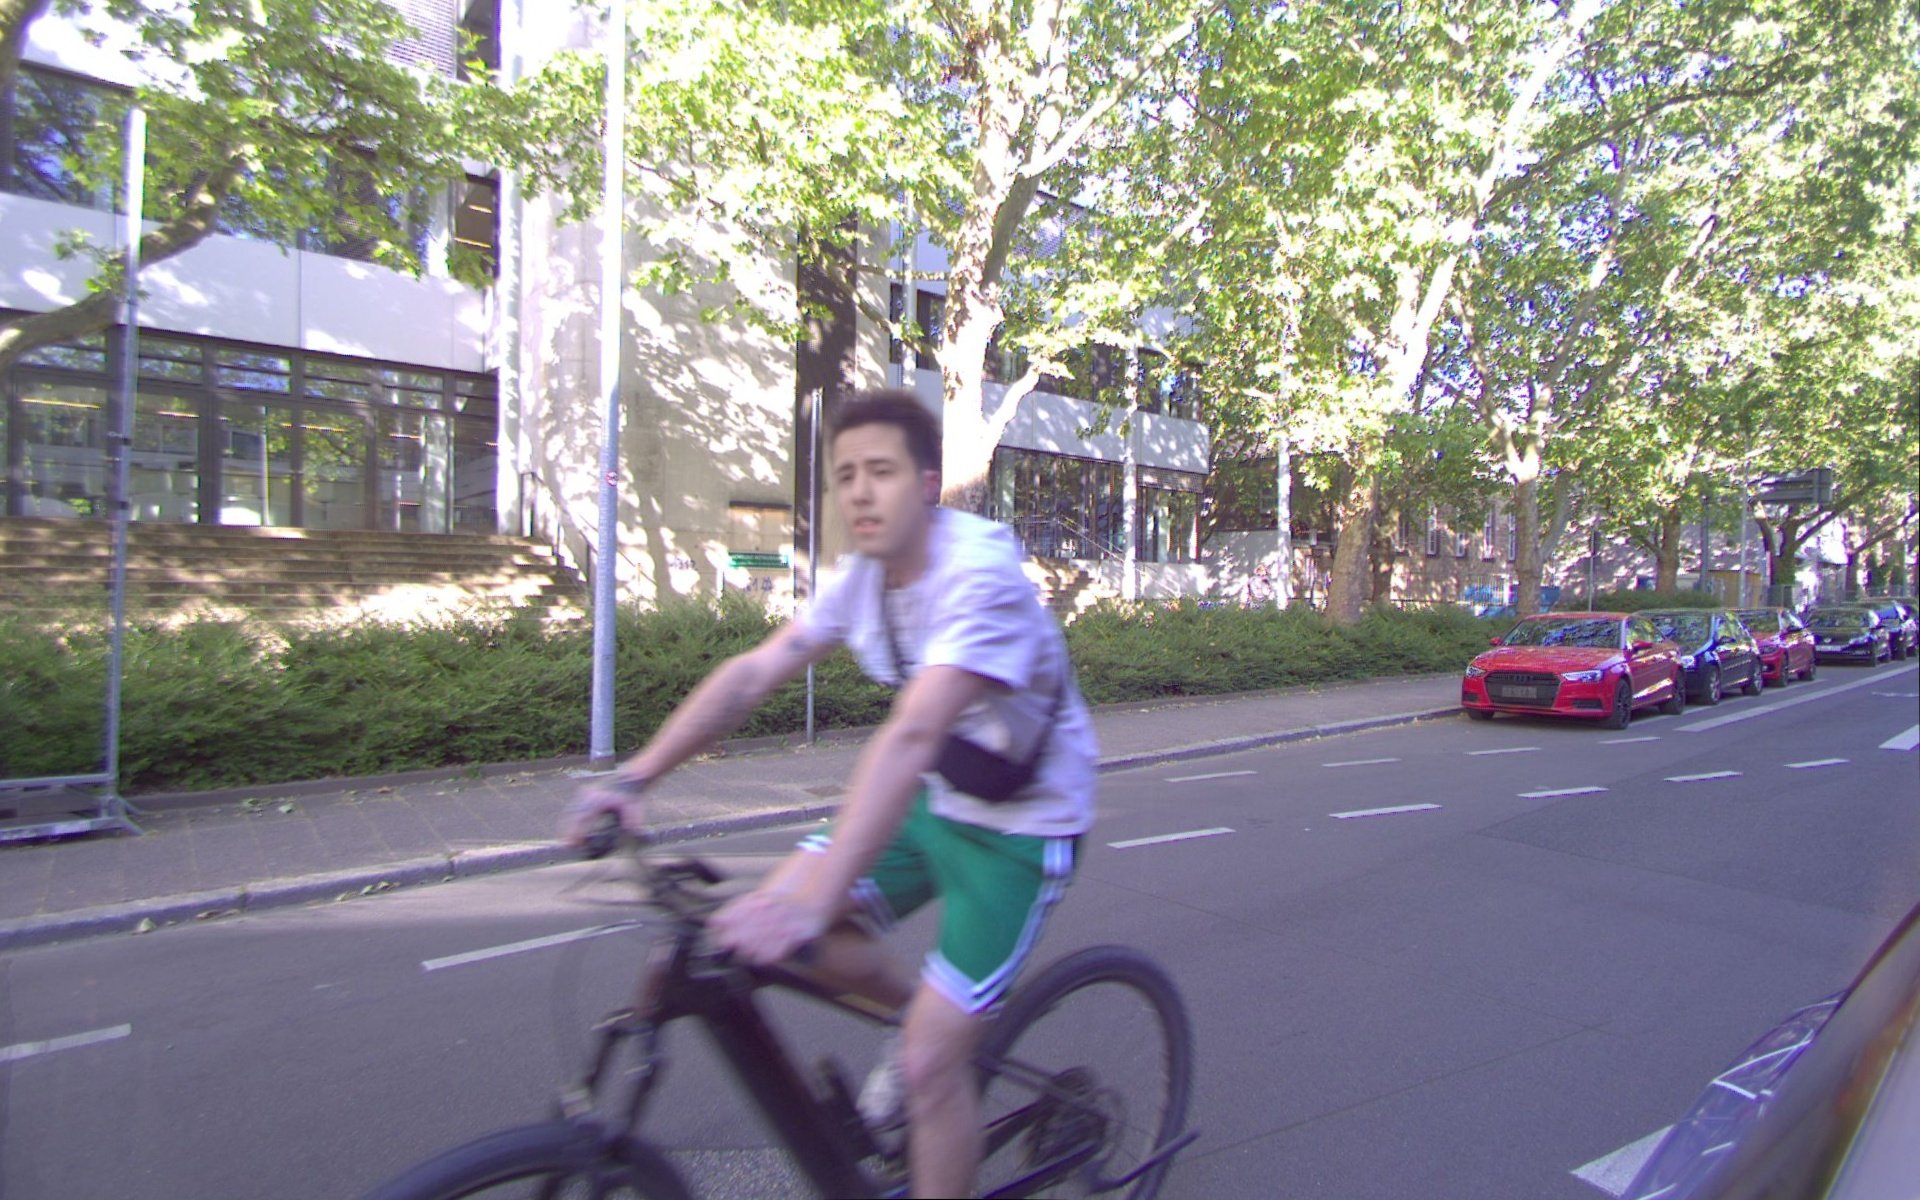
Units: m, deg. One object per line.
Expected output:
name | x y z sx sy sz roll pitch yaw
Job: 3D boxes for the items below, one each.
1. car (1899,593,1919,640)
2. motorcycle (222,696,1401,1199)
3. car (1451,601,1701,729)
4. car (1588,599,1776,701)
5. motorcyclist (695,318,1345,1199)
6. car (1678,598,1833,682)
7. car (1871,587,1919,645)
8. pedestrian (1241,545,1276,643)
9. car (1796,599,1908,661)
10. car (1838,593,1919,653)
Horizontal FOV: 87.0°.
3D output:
car | 35.547 0.571 36.796 4.497 1.633 1.632 -1 0 -41
motorcycle | -0.092 0.862 1.782 1.896 1.183 0.864 -1 0 -41
car | 8.312 0.737 13.527 3.931 1.409 1.792 -1 0 -42
car | 11.867 0.730 16.557 3.632 1.436 1.668 -1 0 -40
motorcyclist | 0.105 0.539 1.901 0.897 1.811 0.832 0 0 -41
car | 15.755 0.708 19.984 3.854 1.467 1.691 -1 0 -40
car | 31.183 0.472 33.025 4.497 1.814 1.632 -1 0 -41
pedestrian | 6.334 -0.134 21.468 0.549 2.039 0.555 0 0 38
car | 22.959 0.711 25.999 3.855 1.441 1.691 -1 0 -41
car | 26.645 0.603 29.056 4.158 1.598 1.632 -1 0 -41
